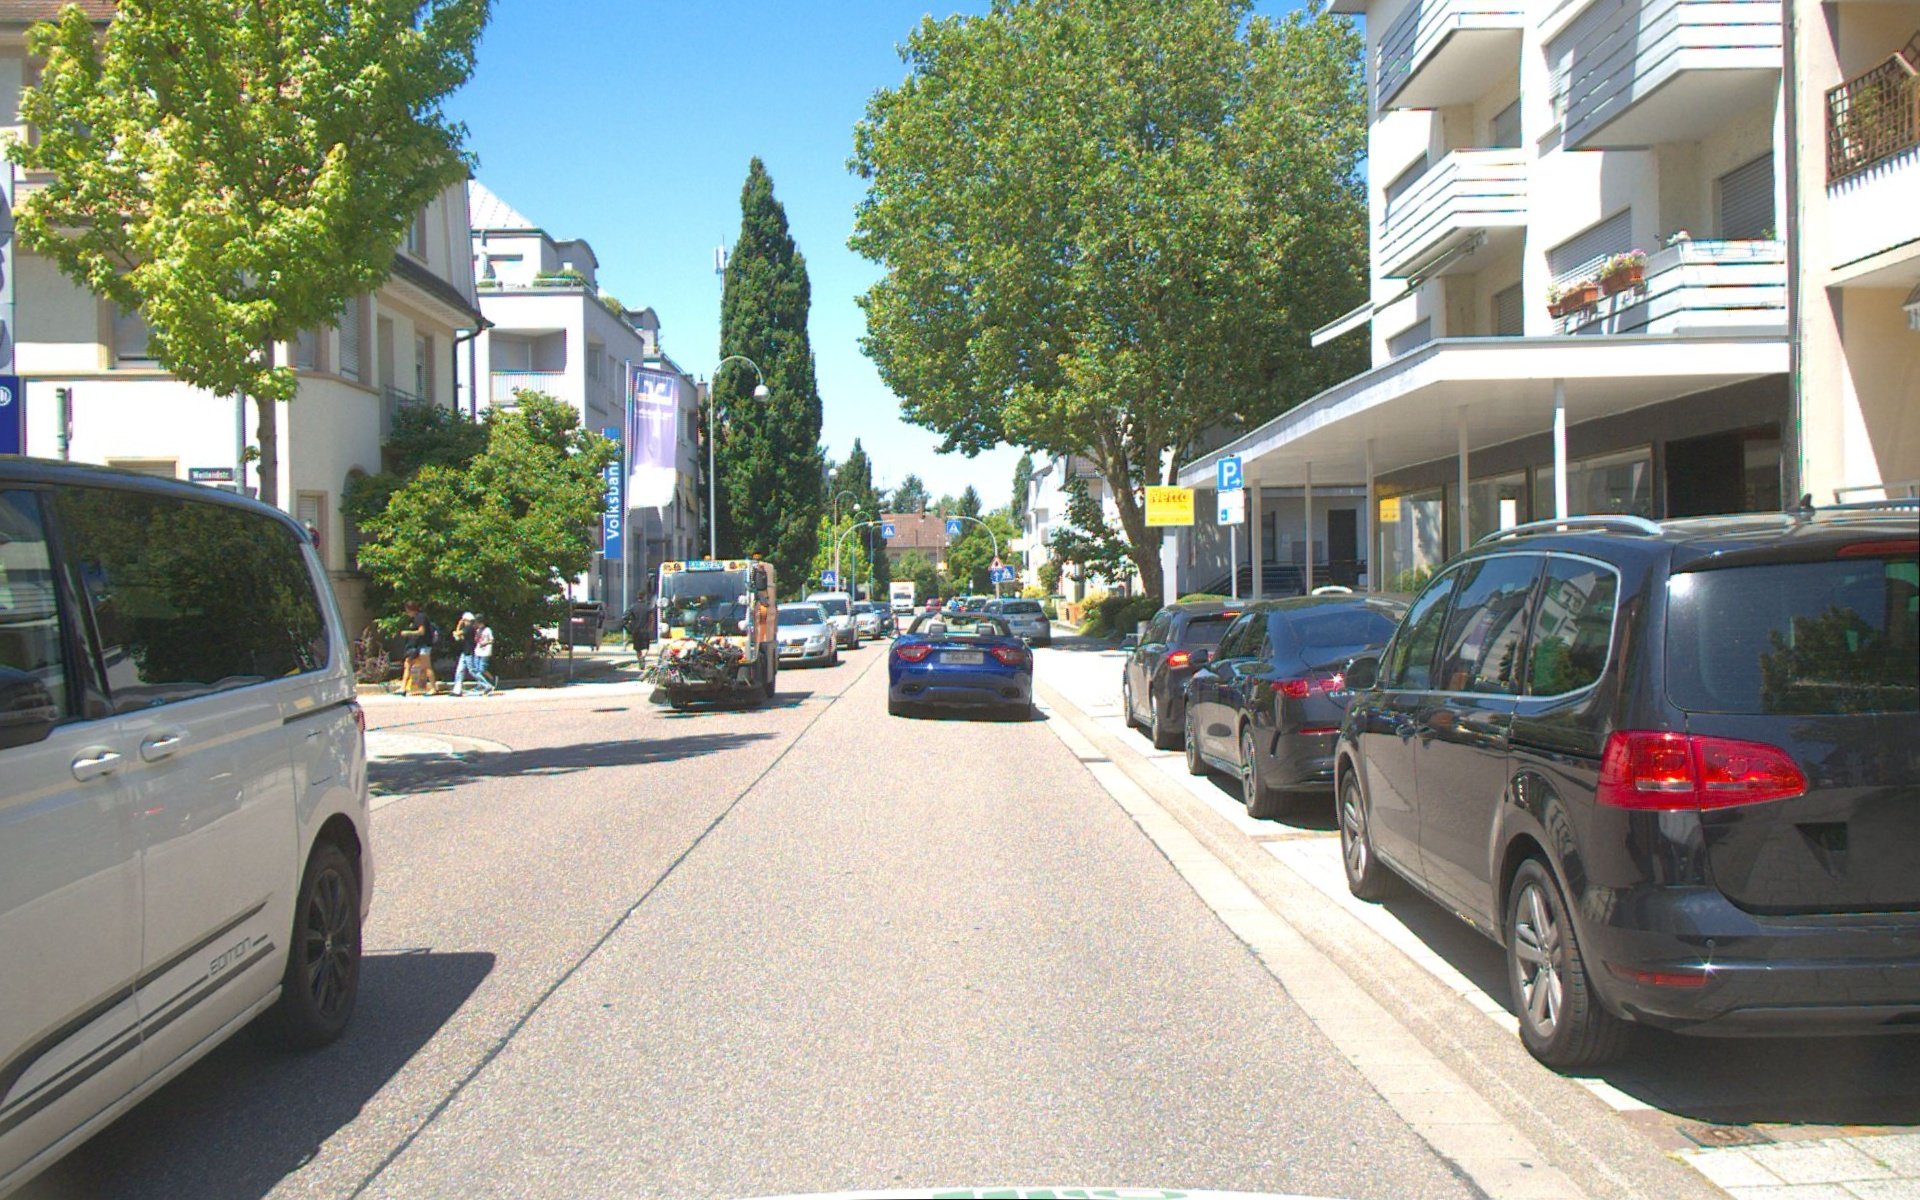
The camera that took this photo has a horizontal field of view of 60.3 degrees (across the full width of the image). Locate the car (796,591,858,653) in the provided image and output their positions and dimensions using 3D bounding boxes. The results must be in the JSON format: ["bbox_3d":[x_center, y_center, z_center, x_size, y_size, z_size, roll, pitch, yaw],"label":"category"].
[{"bbox_3d":[-4.232,0.666,52.928,1.734,1.798,4.136,-2,1,-2],"label":"car"}]

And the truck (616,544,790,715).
[{"bbox_3d":[-3.573,0.363,23.814,1.768,2.154,4.714,-2,0,-1],"label":"truck"}]

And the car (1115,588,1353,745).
[{"bbox_3d":[2.819,0.655,17.936,1.807,1.439,4.162,-2,-1,-1],"label":"car"}]

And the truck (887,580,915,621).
[{"bbox_3d":[-5.451,0.061,151.875,2.372,3.542,6.999,-2,0,-3],"label":"truck"}]

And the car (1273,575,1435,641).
[{"bbox_3d":[10.000,0.237,42.269,1.823,1.478,3.962,-3,-1,-28],"label":"car"}]

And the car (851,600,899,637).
[{"bbox_3d":[-3.714,0.799,72.842,1.911,1.502,4.136,-2,0,-1],"label":"car"}]

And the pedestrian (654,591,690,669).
[{"bbox_3d":[-6.455,0.688,37.099,0.618,1.720,0.961,1,-2,-1],"label":"pedestrian"}]

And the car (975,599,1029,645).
[{"bbox_3d":[1.621,0.846,65.223,1.936,1.584,4.348,-3,1,-1],"label":"car"}]

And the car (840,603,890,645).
[{"bbox_3d":[-3.656,0.901,64.222,1.734,1.502,4.136,-2,0,-1],"label":"car"}]

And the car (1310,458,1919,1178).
[{"bbox_3d":[2.830,0.478,6.523,1.952,1.830,4.570,-2,1,1],"label":"car"}]

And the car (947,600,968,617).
[{"bbox_3d":[-0.249,0.758,154.960,1.911,1.502,4.136,-2,0,-1],"label":"car"}]

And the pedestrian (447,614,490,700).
[{"bbox_3d":[-8.369,0.965,28.156,0.588,1.395,0.690,-3,2,-22],"label":"pedestrian"}]

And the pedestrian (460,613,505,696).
[{"bbox_3d":[-8.442,0.951,29.236,0.589,1.395,0.688,-3,2,-28],"label":"pedestrian"}]

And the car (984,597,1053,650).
[{"bbox_3d":[1.836,0.724,52.982,1.936,1.475,4.348,-3,1,-1],"label":"car"}]

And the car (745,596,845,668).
[{"bbox_3d":[-3.860,0.729,39.419,1.910,1.535,4.795,-2,0,-1],"label":"car"}]

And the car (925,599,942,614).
[{"bbox_3d":[-2.711,0.669,168.483,1.734,1.502,4.136,-1,-1,-1],"label":"car"}]

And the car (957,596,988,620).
[{"bbox_3d":[0.810,0.531,109.911,1.911,1.502,4.136,-2,0,-1],"label":"car"}]

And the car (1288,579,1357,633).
[{"bbox_3d":[11.053,0.169,50.248,1.804,1.478,4.003,-4,0,15],"label":"car"}]

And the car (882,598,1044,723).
[{"bbox_3d":[-0.026,0.738,22.486,1.936,1.422,4.626,1,1,-2],"label":"car"}]

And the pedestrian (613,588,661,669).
[{"bbox_3d":[-7.235,0.643,37.063,0.867,1.780,0.818,1,-2,0],"label":"pedestrian"}]

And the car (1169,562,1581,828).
[{"bbox_3d":[2.837,0.603,12.433,1.856,1.557,4.568,-2,-1,-1],"label":"car"}]

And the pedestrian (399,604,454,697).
[{"bbox_3d":[-9.175,0.857,28.456,0.683,1.556,0.594,0,3,45],"label":"pedestrian"}]

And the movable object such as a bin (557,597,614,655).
[{"bbox_3d":[-10.527,0.724,46.545,1.330,1.520,1.296,-2,2,-5],"label":"movable object such as a bin"}]

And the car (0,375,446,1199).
[{"bbox_3d":[-2.899,0.563,4.199,1.869,1.956,4.902,-2,0,-4],"label":"car"}]
